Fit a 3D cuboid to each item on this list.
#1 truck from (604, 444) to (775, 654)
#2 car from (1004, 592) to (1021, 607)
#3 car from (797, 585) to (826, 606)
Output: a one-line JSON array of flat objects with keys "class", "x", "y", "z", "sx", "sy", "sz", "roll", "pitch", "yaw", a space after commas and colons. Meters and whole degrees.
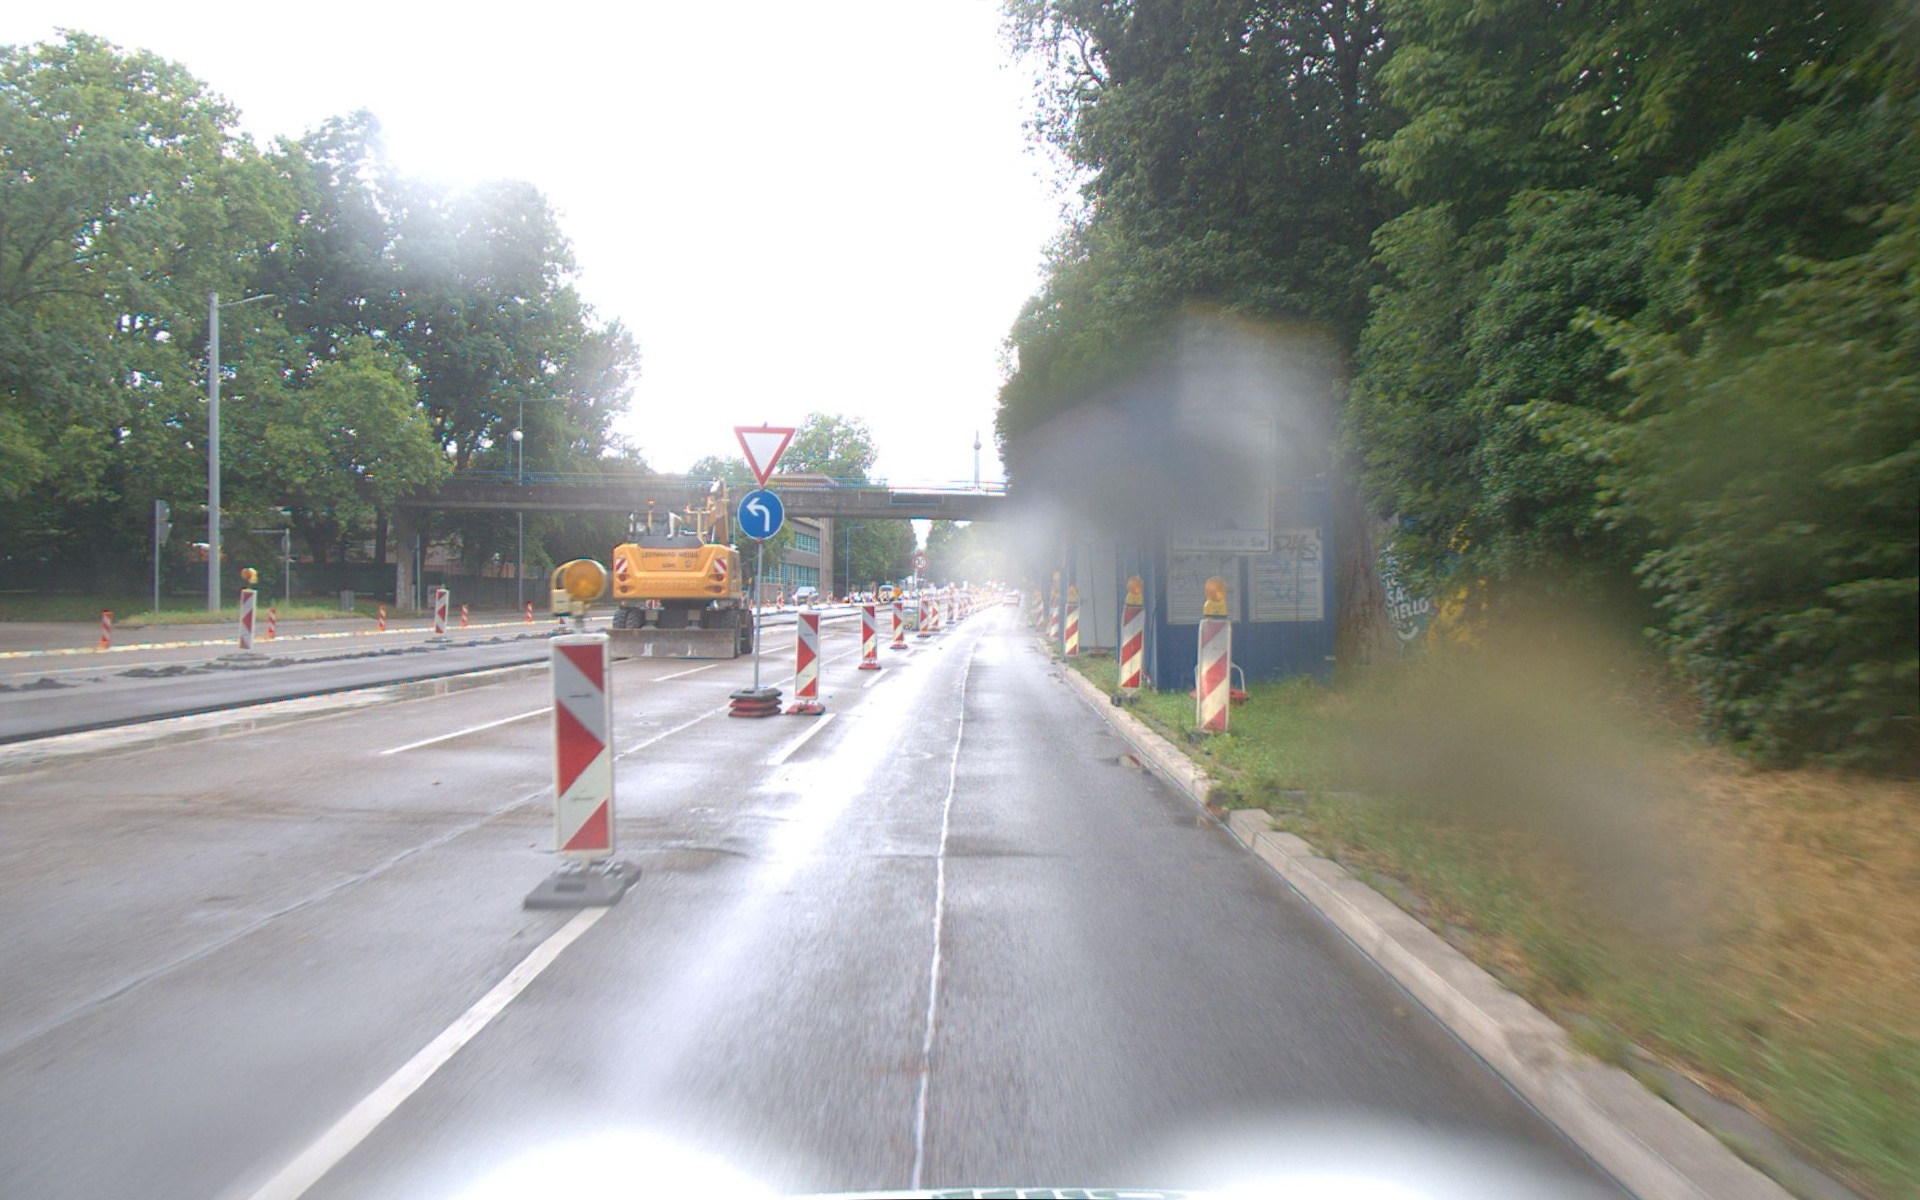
[{"class": "truck", "x": -6.251, "y": -1.109, "z": 39.967, "sx": 2.840, "sy": 4.333, "sz": 10.749, "roll": 1, "pitch": 0, "yaw": -3}, {"class": "car", "x": 5.840, "y": -0.024, "z": 183.879, "sx": 1.952, "sy": 1.668, "sz": 4.001, "roll": 0, "pitch": 0, "yaw": 2}, {"class": "car", "x": -13.185, "y": -0.418, "z": 147.422, "sx": 1.930, "sy": 1.837, "sz": 4.609, "roll": 0, "pitch": 0, "yaw": 3}]
